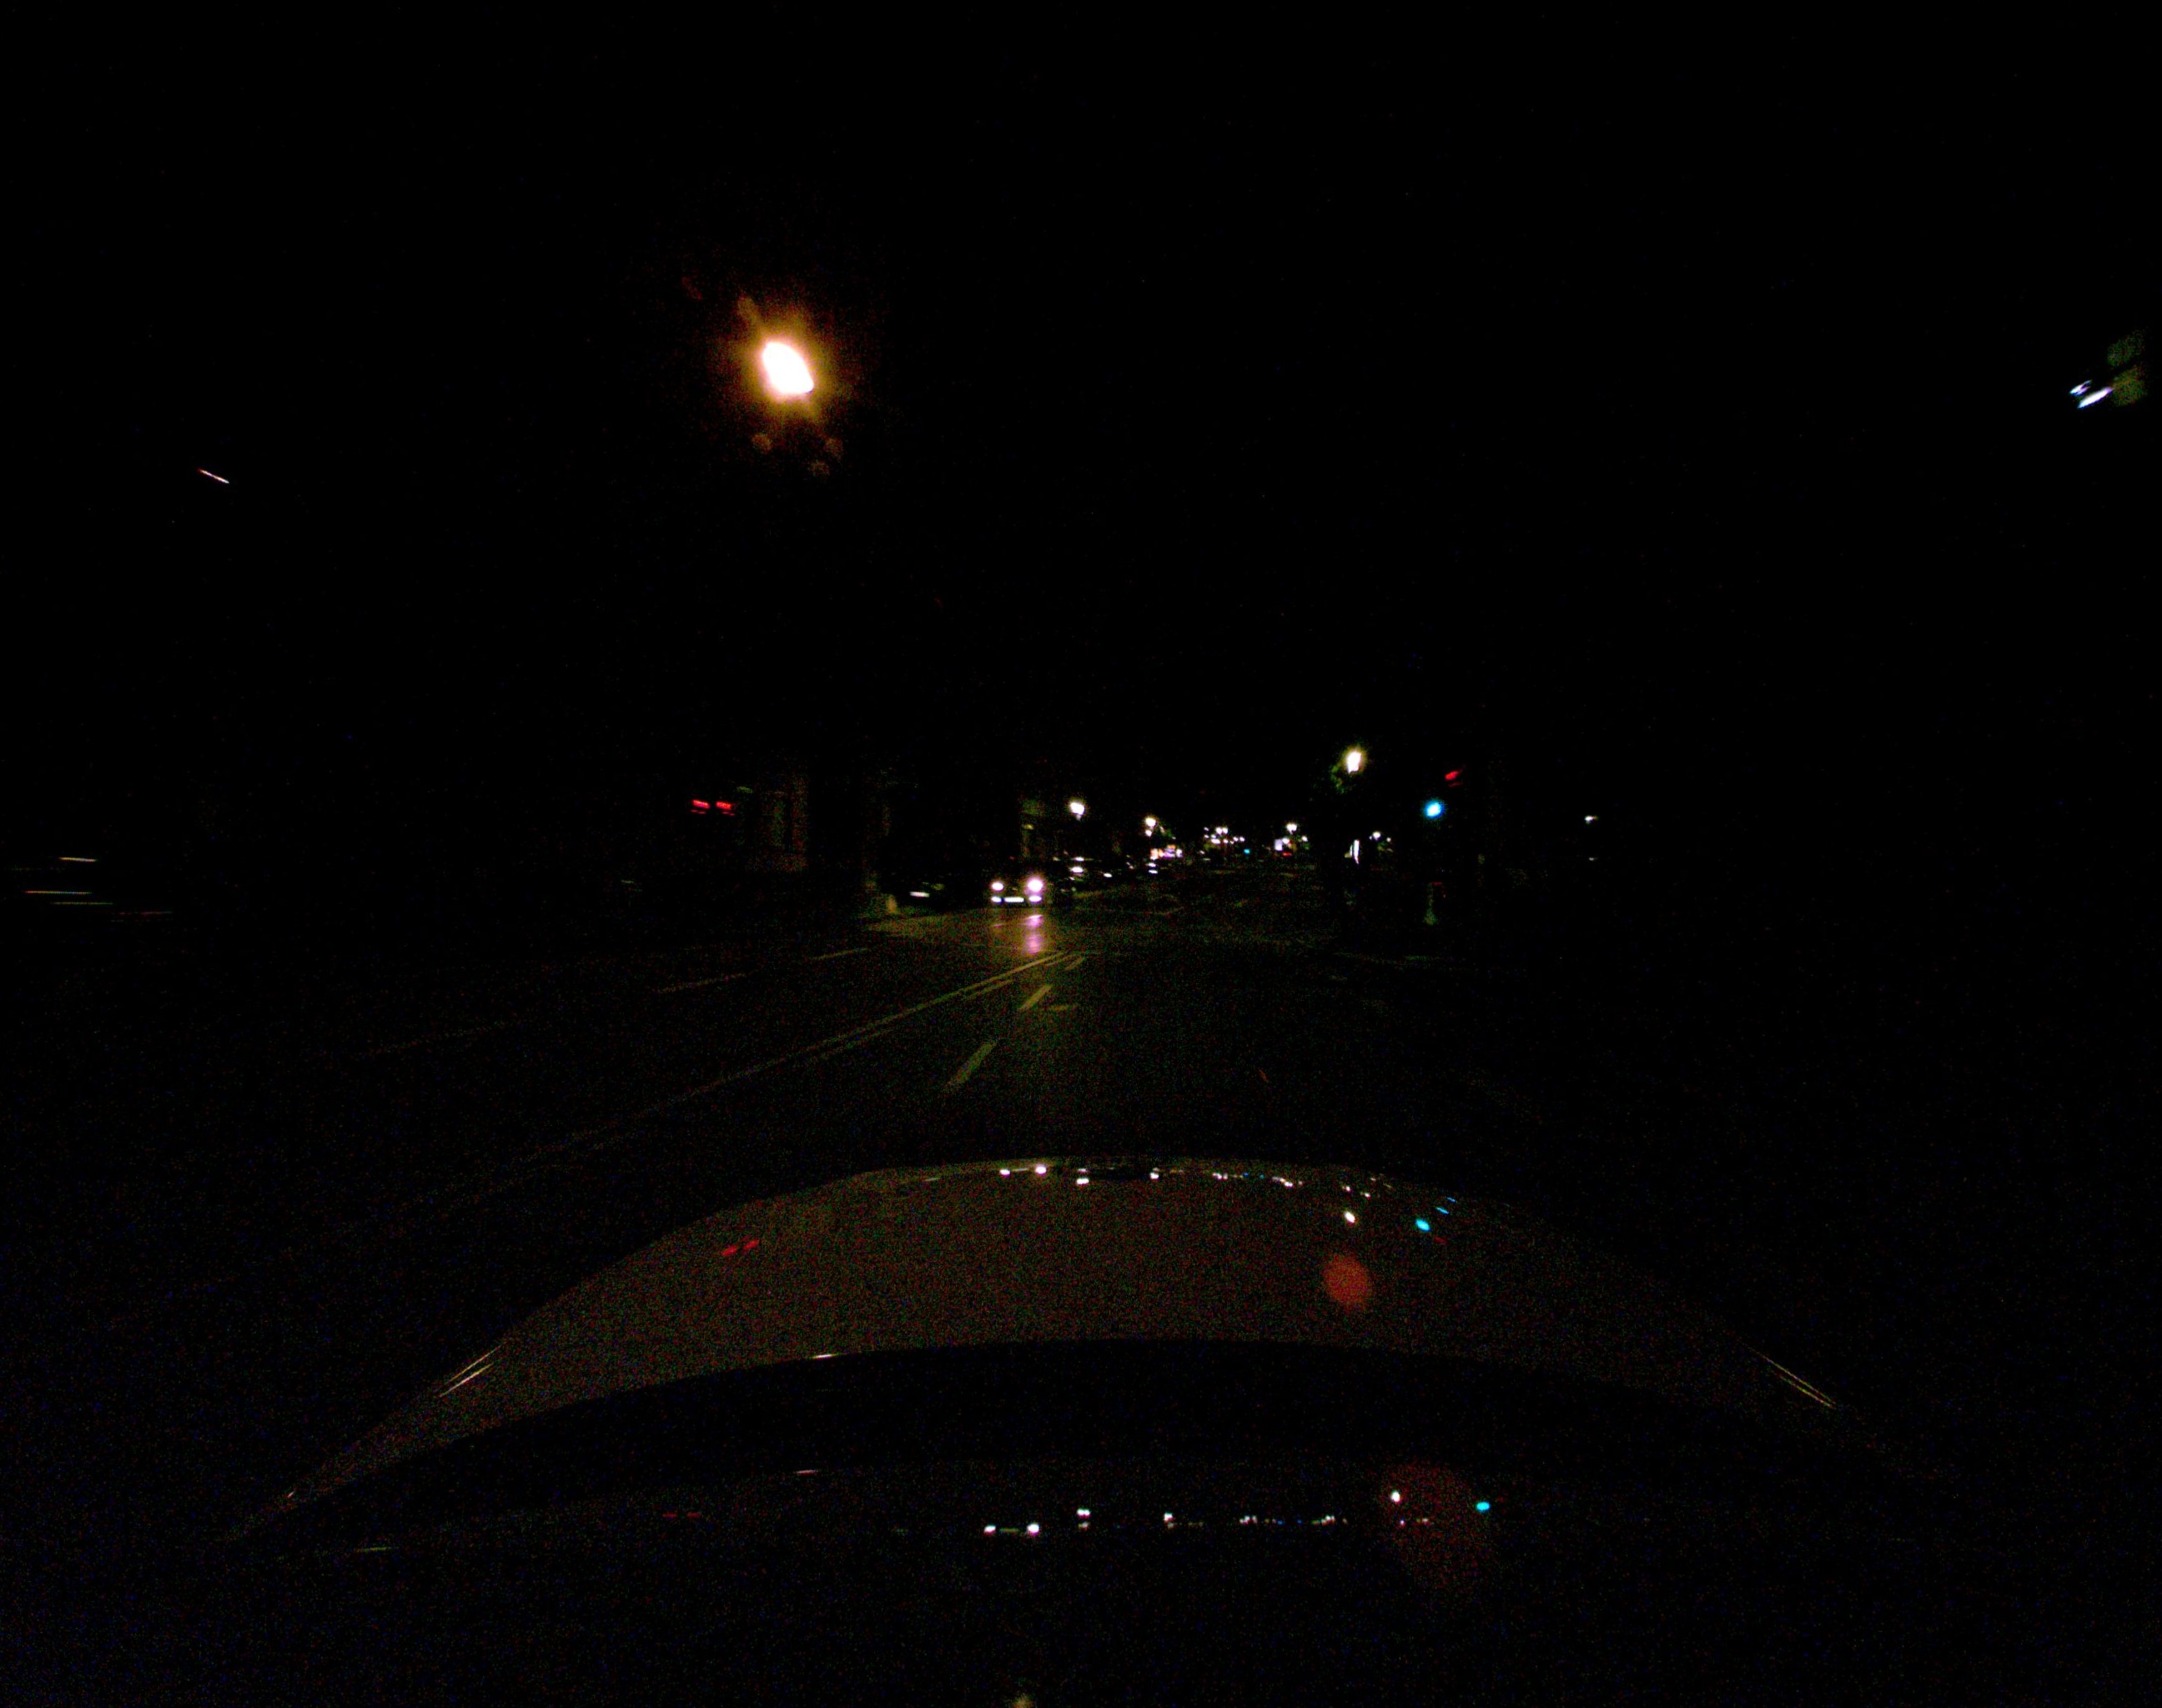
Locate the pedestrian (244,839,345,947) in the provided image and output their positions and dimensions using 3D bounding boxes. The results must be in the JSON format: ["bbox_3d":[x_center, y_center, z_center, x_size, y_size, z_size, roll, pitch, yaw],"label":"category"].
[{"bbox_3d":[-12.882,0.608,13.362,0.703,1.690,1.003,0,0,26],"label":"pedestrian"}]

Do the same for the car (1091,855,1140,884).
[{"bbox_3d":[2.097,0.885,48.593,1.771,1.581,4.431,3,1,17],"label":"car"}]

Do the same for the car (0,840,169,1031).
[{"bbox_3d":[-10.388,0.674,6.256,1.871,1.596,4.042,2,0,17],"label":"car"}]

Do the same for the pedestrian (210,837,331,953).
[{"bbox_3d":[-12.433,0.603,12.519,0.703,1.690,1.131,0,0,26],"label":"pedestrian"}]

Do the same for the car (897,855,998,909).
[{"bbox_3d":[-4.279,0.851,26.641,1.579,1.491,3.718,3,1,20],"label":"car"}]

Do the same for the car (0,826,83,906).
[{"bbox_3d":[-25.783,0.268,18.814,3.958,1.776,1.908,0,0,14],"label":"car"}]

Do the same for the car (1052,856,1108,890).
[{"bbox_3d":[-0.005,0.899,40.688,1.772,1.491,4.015,3,1,14],"label":"car"}]

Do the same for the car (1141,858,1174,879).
[{"bbox_3d":[5.764,1.053,60.728,1.772,1.415,4.142,2,0,14],"label":"car"}]

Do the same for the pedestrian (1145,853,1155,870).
[{"bbox_3d":[7.285,0.781,86.212,0.728,1.822,0.685,3,-1,-31],"label":"pedestrian"}]

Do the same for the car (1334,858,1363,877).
[{"bbox_3d":[21.356,1.066,65.178,1.722,1.459,4.743,1,0,12],"label":"car"}]

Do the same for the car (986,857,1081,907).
[{"bbox_3d":[-1.414,0.848,25.903,1.702,1.429,4.017,-1,0,16],"label":"car"}]

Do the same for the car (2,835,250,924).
[{"bbox_3d":[-20.724,0.507,17.732,3.958,1.776,1.908,0,0,14],"label":"car"}]

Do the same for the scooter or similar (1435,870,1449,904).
[{"bbox_3d":[12.822,1.158,28.936,0.418,1.130,1.501,0,0,23],"label":"scooter or similar"}]
